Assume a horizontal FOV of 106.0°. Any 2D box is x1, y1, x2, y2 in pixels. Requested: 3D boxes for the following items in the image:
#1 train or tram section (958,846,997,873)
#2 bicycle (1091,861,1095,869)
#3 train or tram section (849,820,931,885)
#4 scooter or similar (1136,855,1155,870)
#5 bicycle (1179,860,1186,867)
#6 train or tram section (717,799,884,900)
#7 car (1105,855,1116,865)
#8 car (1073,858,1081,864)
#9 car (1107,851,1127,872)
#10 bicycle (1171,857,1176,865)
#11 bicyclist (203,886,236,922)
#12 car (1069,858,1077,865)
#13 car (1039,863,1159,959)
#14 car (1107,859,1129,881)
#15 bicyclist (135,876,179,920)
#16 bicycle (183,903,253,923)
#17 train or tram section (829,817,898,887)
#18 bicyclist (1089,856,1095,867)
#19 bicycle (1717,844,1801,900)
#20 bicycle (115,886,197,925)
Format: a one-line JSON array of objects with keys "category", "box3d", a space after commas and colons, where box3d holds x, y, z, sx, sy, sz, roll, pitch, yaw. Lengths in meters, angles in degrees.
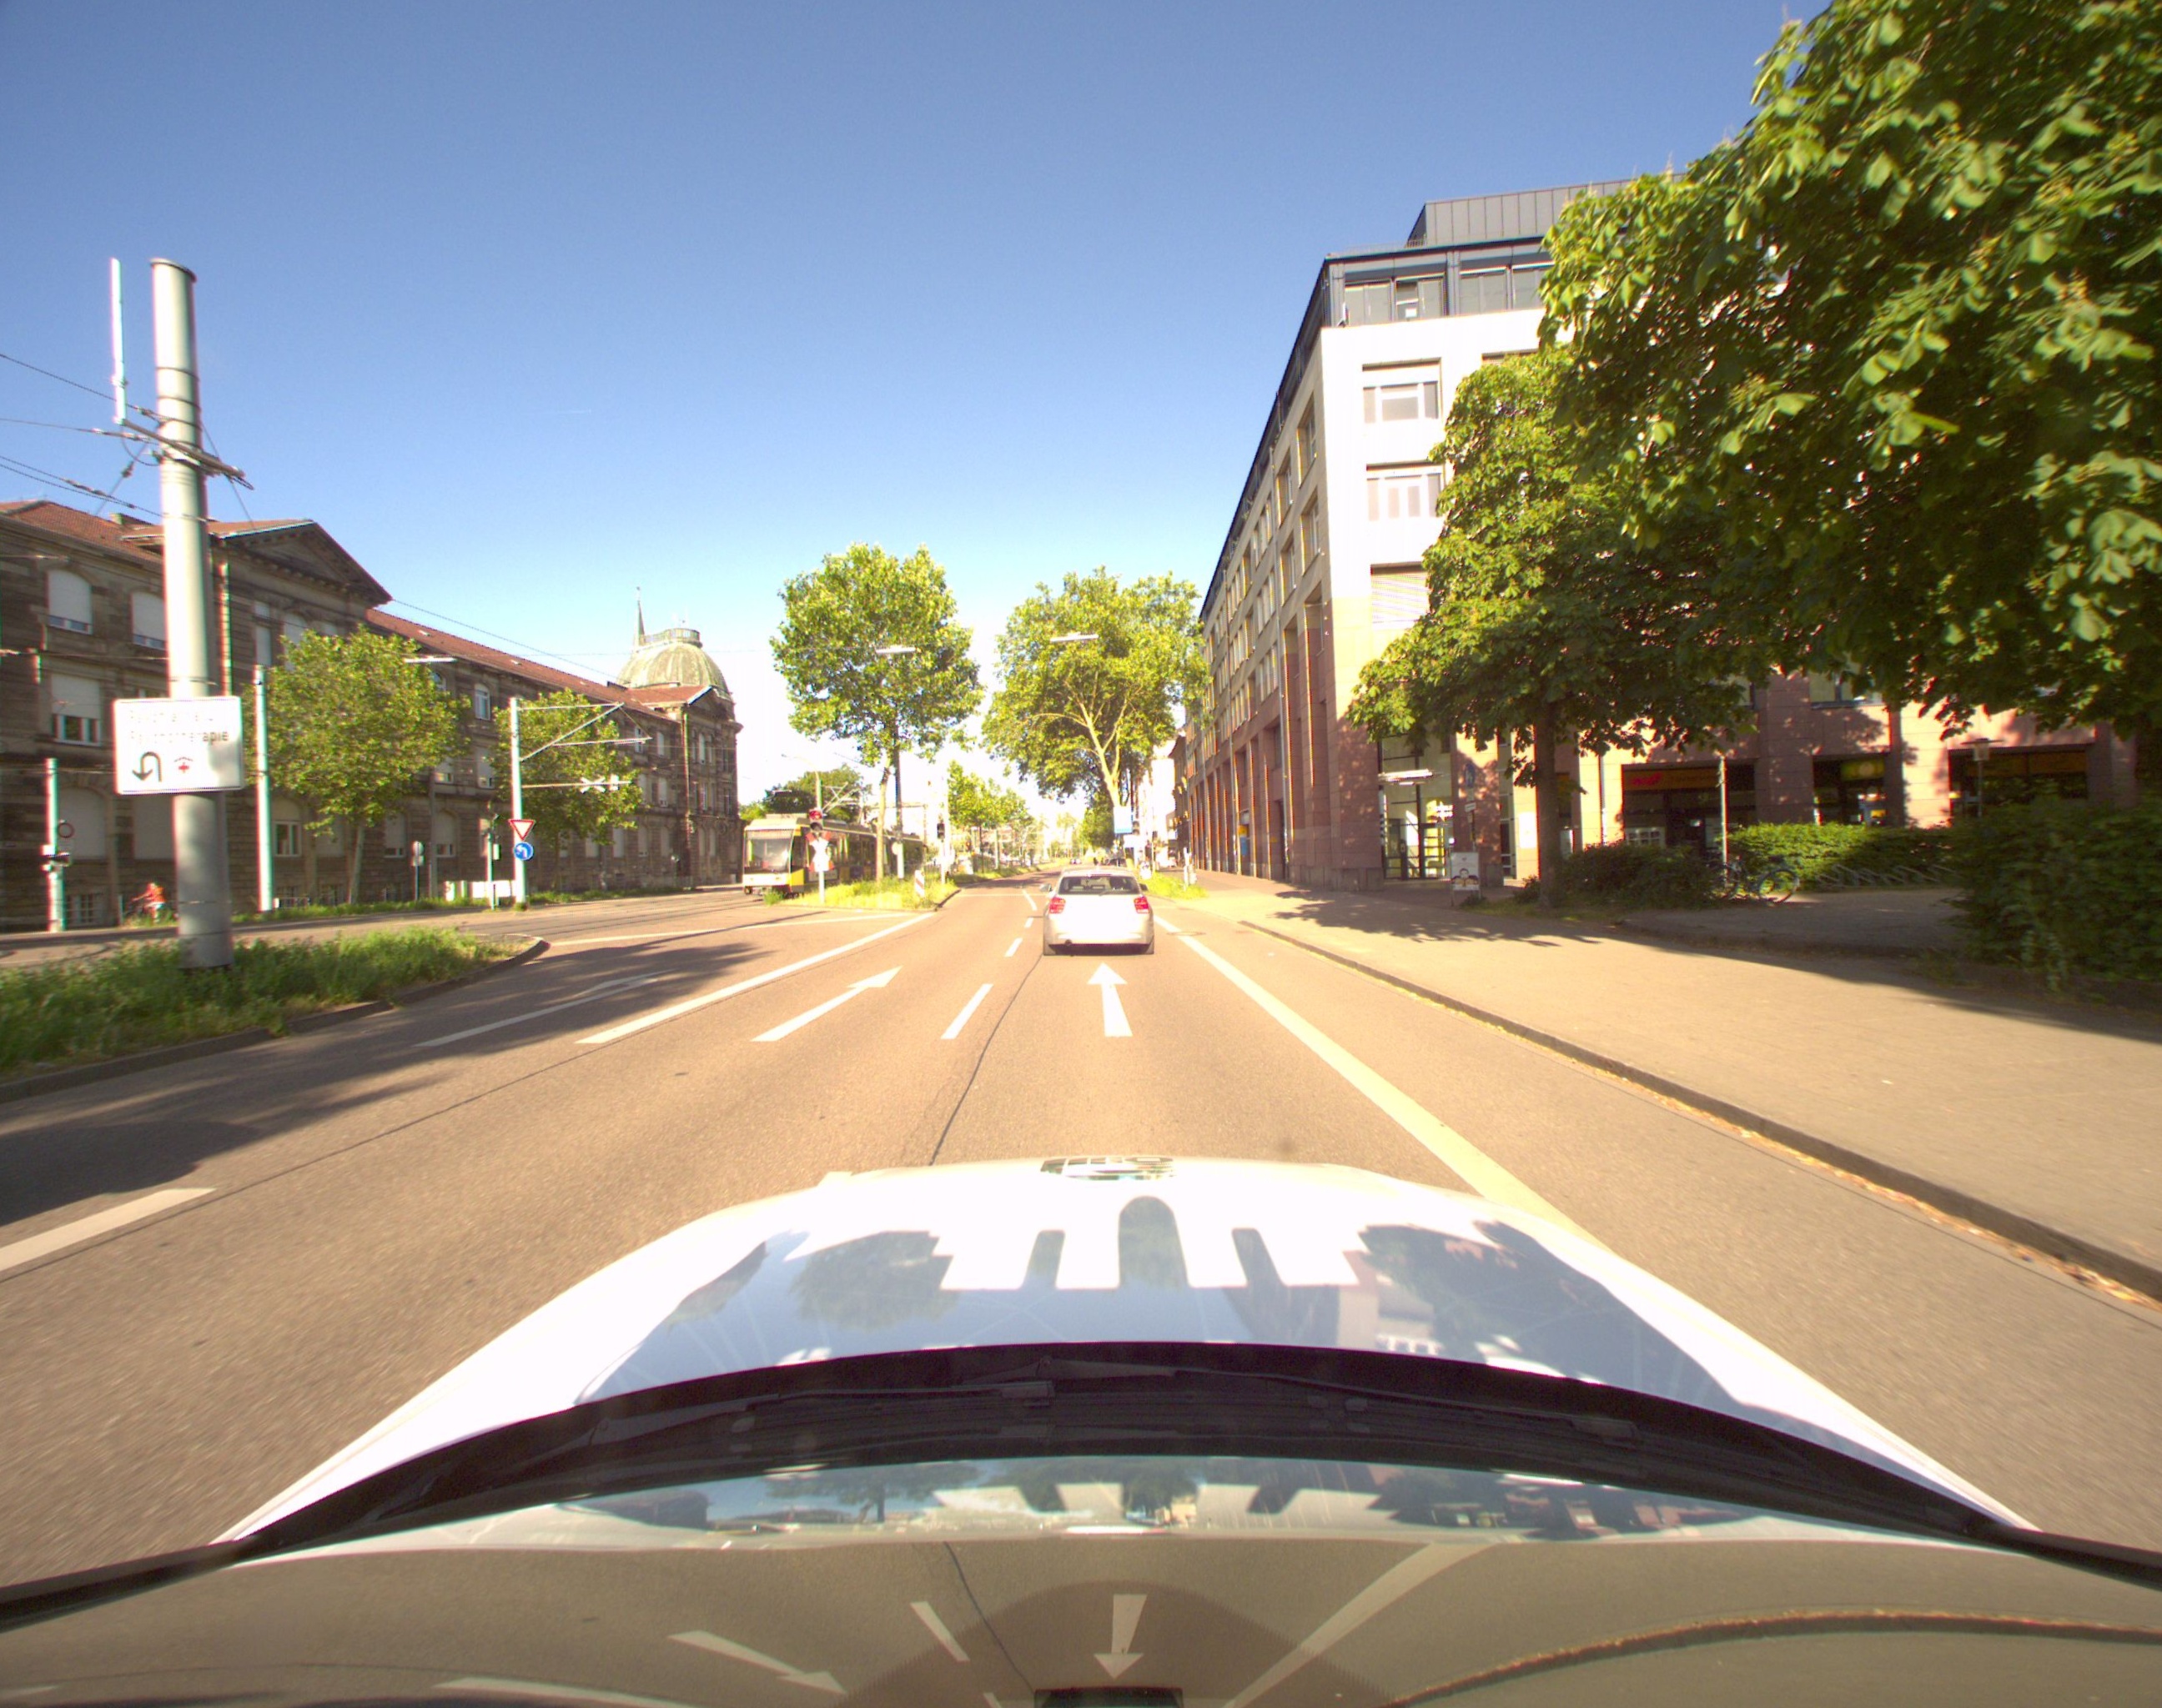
[{"category": "train or tram section", "box3d": [-15.032, 0.810, 120.281, 2.954, 3.483, 21.213, -2, 0, 0]}, {"category": "bicycle", "box3d": [1.587, 1.443, 109.323, 0.497, 1.088, 1.998, 0, -1, 2]}, {"category": "train or tram section", "box3d": [-12.424, -0.039, 54.117, 2.944, 3.897, 10.798, 0, 0, -1]}, {"category": "scooter or similar", "box3d": [5.579, 0.730, 70.591, 1.535, 1.237, 0.449, -2, 0, 2]}, {"category": "bicycle", "box3d": [10.801, 1.020, 86.943, 0.547, 0.773, 1.663, -3, -1, 1]}, {"category": "train or tram section", "box3d": [-12.264, -0.116, 37.714, 2.920, 3.812, 14.267, 0, 0, -1]}, {"category": "car", "box3d": [4.987, 1.001, 137.348, 1.688, 1.502, 3.802, -4, 0, 1]}, {"category": "car", "box3d": [-0.995, 1.775, 201.101, 1.638, 1.421, 4.001, -1, -1, 2]}, {"category": "car", "box3d": [3.447, 0.716, 78.490, 1.849, 2.014, 4.725, 0, -1, 1]}, {"category": "bicycle", "box3d": [10.734, 0.802, 94.388, 0.413, 0.997, 1.883, -1, -1, 1]}, {"category": "bicyclist", "box3d": [-35.855, 2.058, 33.895, 0.787, 1.462, 0.734, 0, -1, 27]}, {"category": "car", "box3d": [-1.955, 1.743, 193.044, 1.721, 1.470, 4.408, -1, 0, -1]}, {"category": "car", "box3d": [0.319, 0.878, 14.219, 1.791, 1.415, 4.001, 0, 0, 1]}, {"category": "car", "box3d": [2.811, 1.195, 61.743, 1.661, 1.570, 4.283, 0, -1, 3]}, {"category": "bicyclist", "box3d": [-35.474, 1.681, 31.280, 0.672, 1.624, 0.870, -1, 0, -2]}, {"category": "bicycle", "box3d": [-35.864, 2.449, 33.857, 0.519, 0.722, 1.913, 0, -1, 29]}, {"category": "train or tram section", "box3d": [-12.387, -0.098, 46.770, 2.946, 3.897, 3.864, 0, -1, -1]}, {"category": "bicyclist", "box3d": [1.536, 1.038, 109.501, 0.782, 1.531, 0.895, 0, -1, 1]}, {"category": "bicycle", "box3d": [13.026, 0.336, 15.716, 0.415, 0.997, 2.232, -2, -1, 18]}, {"category": "bicycle", "box3d": [-35.475, 1.950, 31.290, 0.523, 1.389, 2.349, 0, -1, -2]}]
